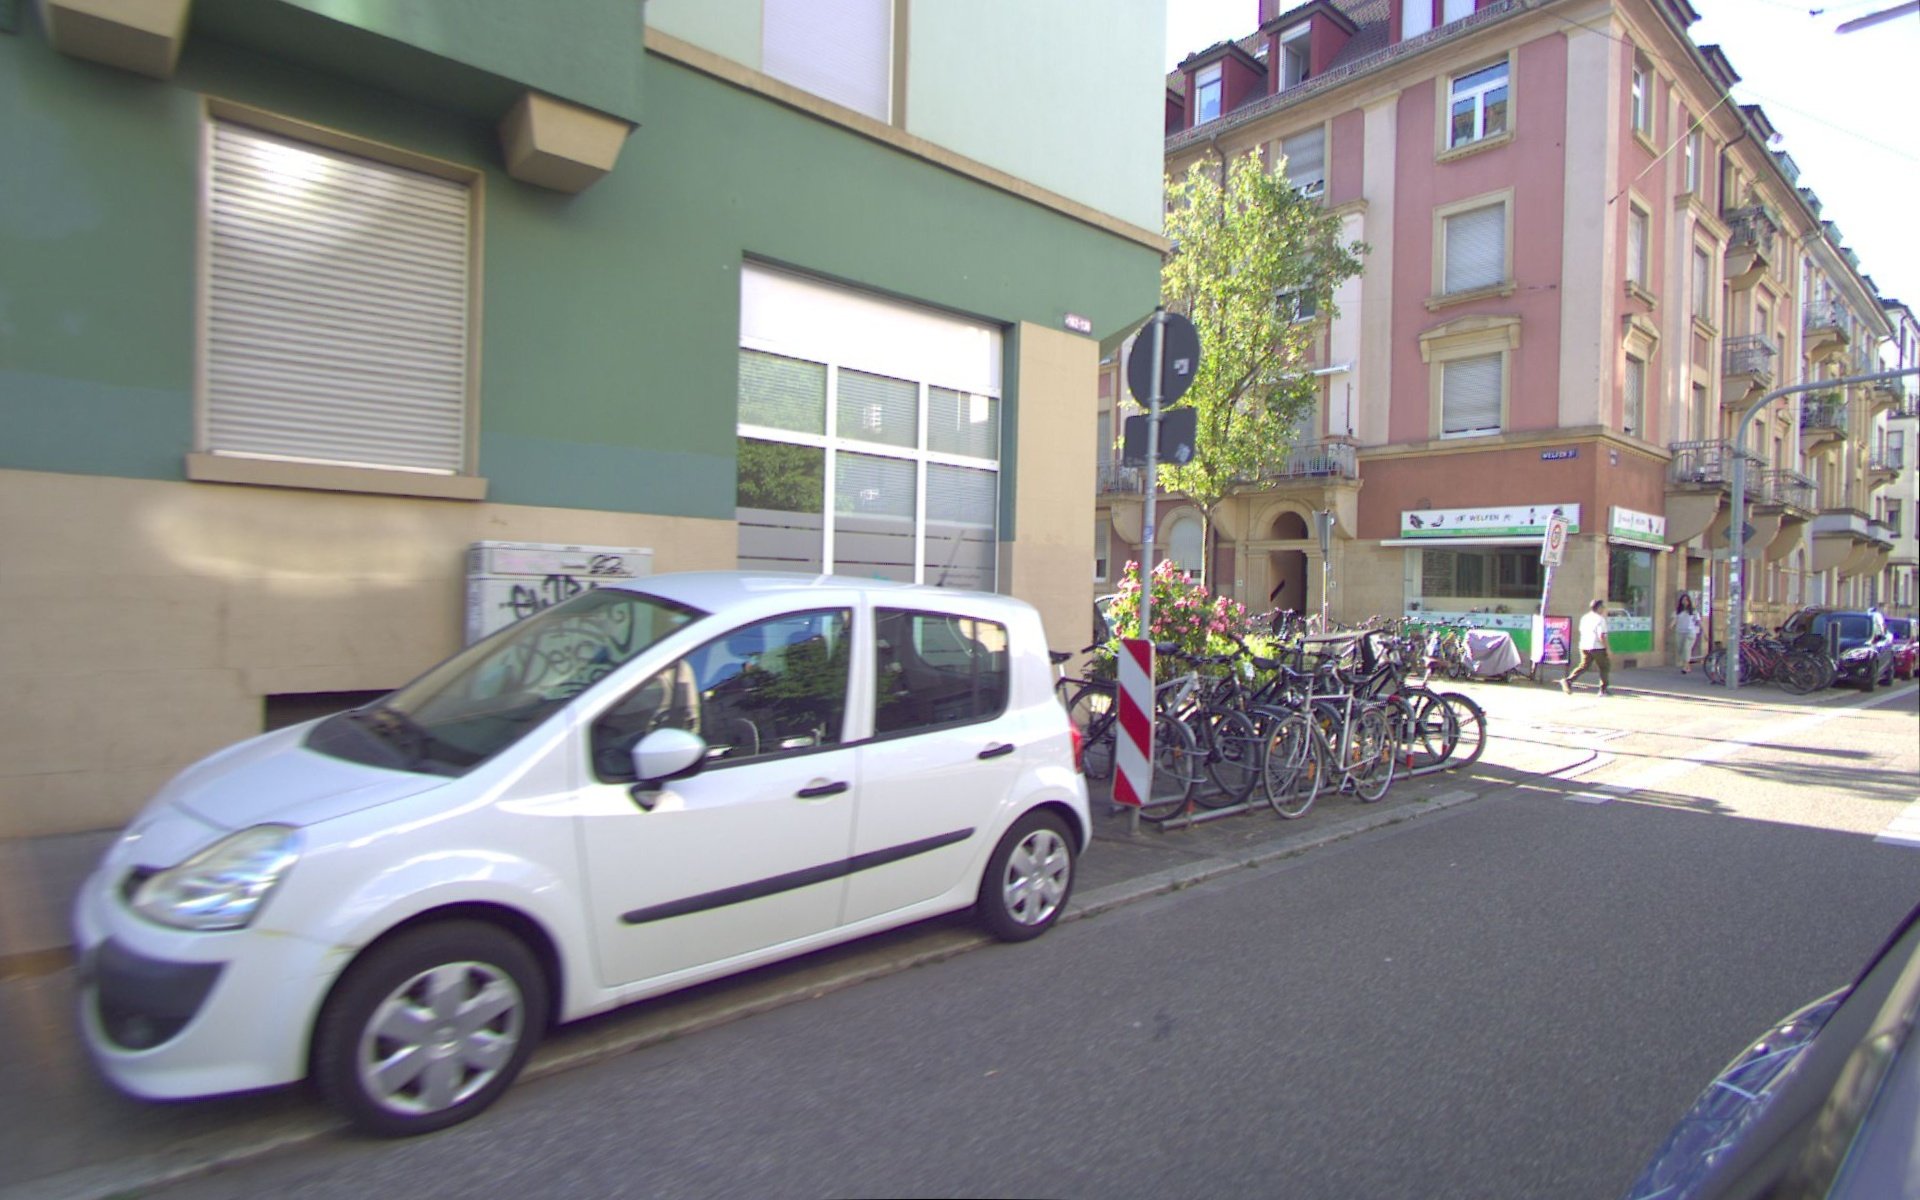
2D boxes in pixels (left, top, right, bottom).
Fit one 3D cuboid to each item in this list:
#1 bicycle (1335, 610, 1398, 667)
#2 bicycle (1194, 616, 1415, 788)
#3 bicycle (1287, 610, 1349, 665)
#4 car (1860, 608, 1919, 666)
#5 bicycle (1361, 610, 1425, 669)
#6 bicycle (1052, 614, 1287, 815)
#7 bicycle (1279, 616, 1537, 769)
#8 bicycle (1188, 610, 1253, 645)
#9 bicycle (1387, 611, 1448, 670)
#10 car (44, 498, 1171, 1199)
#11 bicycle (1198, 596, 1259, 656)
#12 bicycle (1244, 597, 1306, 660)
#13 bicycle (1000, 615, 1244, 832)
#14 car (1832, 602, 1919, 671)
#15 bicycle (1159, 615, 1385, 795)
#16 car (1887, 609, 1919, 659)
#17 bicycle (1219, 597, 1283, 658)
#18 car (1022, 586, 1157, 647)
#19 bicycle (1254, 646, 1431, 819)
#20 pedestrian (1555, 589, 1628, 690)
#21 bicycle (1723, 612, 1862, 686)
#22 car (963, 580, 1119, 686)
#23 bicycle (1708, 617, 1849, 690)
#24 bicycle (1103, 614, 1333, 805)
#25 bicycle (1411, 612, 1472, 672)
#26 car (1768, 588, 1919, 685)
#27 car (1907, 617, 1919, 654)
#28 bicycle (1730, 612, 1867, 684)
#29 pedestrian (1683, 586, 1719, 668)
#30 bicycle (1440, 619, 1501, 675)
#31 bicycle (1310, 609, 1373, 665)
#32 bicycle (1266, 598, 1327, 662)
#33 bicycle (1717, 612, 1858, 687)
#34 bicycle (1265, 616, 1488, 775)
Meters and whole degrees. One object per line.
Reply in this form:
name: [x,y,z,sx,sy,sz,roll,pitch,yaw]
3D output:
bicycle: [8.742,0.810,21.735,1.698,1.169,0.544,1,0,-41]
bicycle: [2.874,0.804,8.608,0.461,1.168,1.727,1,4,-39]
bicycle: [8.020,0.813,22.634,1.698,1.169,0.544,1,0,-41]
car: [27.281,1.027,29.009,4.395,1.532,1.657,1,1,-41]
bicycle: [9.120,0.811,21.305,1.698,1.169,0.544,1,0,-41]
bicycle: [1.478,0.766,7.447,0.461,1.168,1.727,1,4,-39]
bicycle: [4.291,0.820,9.848,0.833,1.168,2.092,1,3,-39]
bicycle: [7.013,0.729,27.320,0.481,0.890,1.726,1,0,-40]
bicycle: [9.460,0.815,20.893,1.698,1.169,0.468,1,0,-41]
car: [-1.081,0.592,4.193,3.929,1.652,1.787,1,1,-40]
bicycle: [6.520,0.619,24.521,1.698,1.400,0.544,1,0,-41]
bicycle: [7.314,0.652,23.489,1.698,1.400,0.544,1,0,-41]
bicycle: [1.055,0.768,6.993,0.461,1.168,1.727,1,4,-39]
car: [23.770,0.886,25.783,3.662,1.614,1.757,1,0,-40]
bicycle: [2.479,0.786,8.241,0.461,1.168,1.727,1,4,-39]
car: [30.932,1.061,32.226,4.397,1.502,1.657,1,1,-42]
bicycle: [6.886,0.637,23.925,1.698,1.400,0.628,1,0,-41]
car: [3.511,0.416,27.823,1.612,1.515,3.499,1,0,-41]
bicycle: [2.747,0.882,7.177,1.697,1.058,0.353,1,0,-39]
pedestrian: [10.723,0.653,17.200,0.689,1.654,0.733,-1,-1,-9]
bicycle: [15.974,0.906,19.463,0.517,1.242,1.964,1,2,-40]
car: [1.546,0.502,17.798,1.622,1.599,4.048,1,0,22]
bicycle: [15.116,0.958,18.742,0.517,1.175,1.928,1,2,-40]
bicycle: [1.940,0.775,7.845,0.461,1.168,1.727,1,4,-39]
bicycle: [9.775,0.832,20.506,1.698,1.169,0.468,1,0,-41]
car: [19.001,0.717,21.673,4.426,1.756,1.758,1,4,-40]
car: [35.167,1.262,35.902,4.422,1.265,1.658,1,1,-38]
bicycle: [16.394,0.909,19.836,0.517,1.242,1.964,1,2,-40]
pedestrian: [15.791,0.572,21.579,0.440,1.708,0.514,1,0,-41]
bicycle: [10.189,0.914,20.193,1.698,1.062,0.468,1,0,-41]
bicycle: [8.378,0.795,22.174,1.698,1.169,0.544,1,0,-41]
bicycle: [7.677,0.673,23.056,1.698,1.400,0.491,1,0,-41]
bicycle: [15.570,0.905,19.087,0.517,1.242,1.964,1,2,-40]
bicycle: [3.801,0.823,9.393,0.461,1.168,1.848,1,4,-39]
